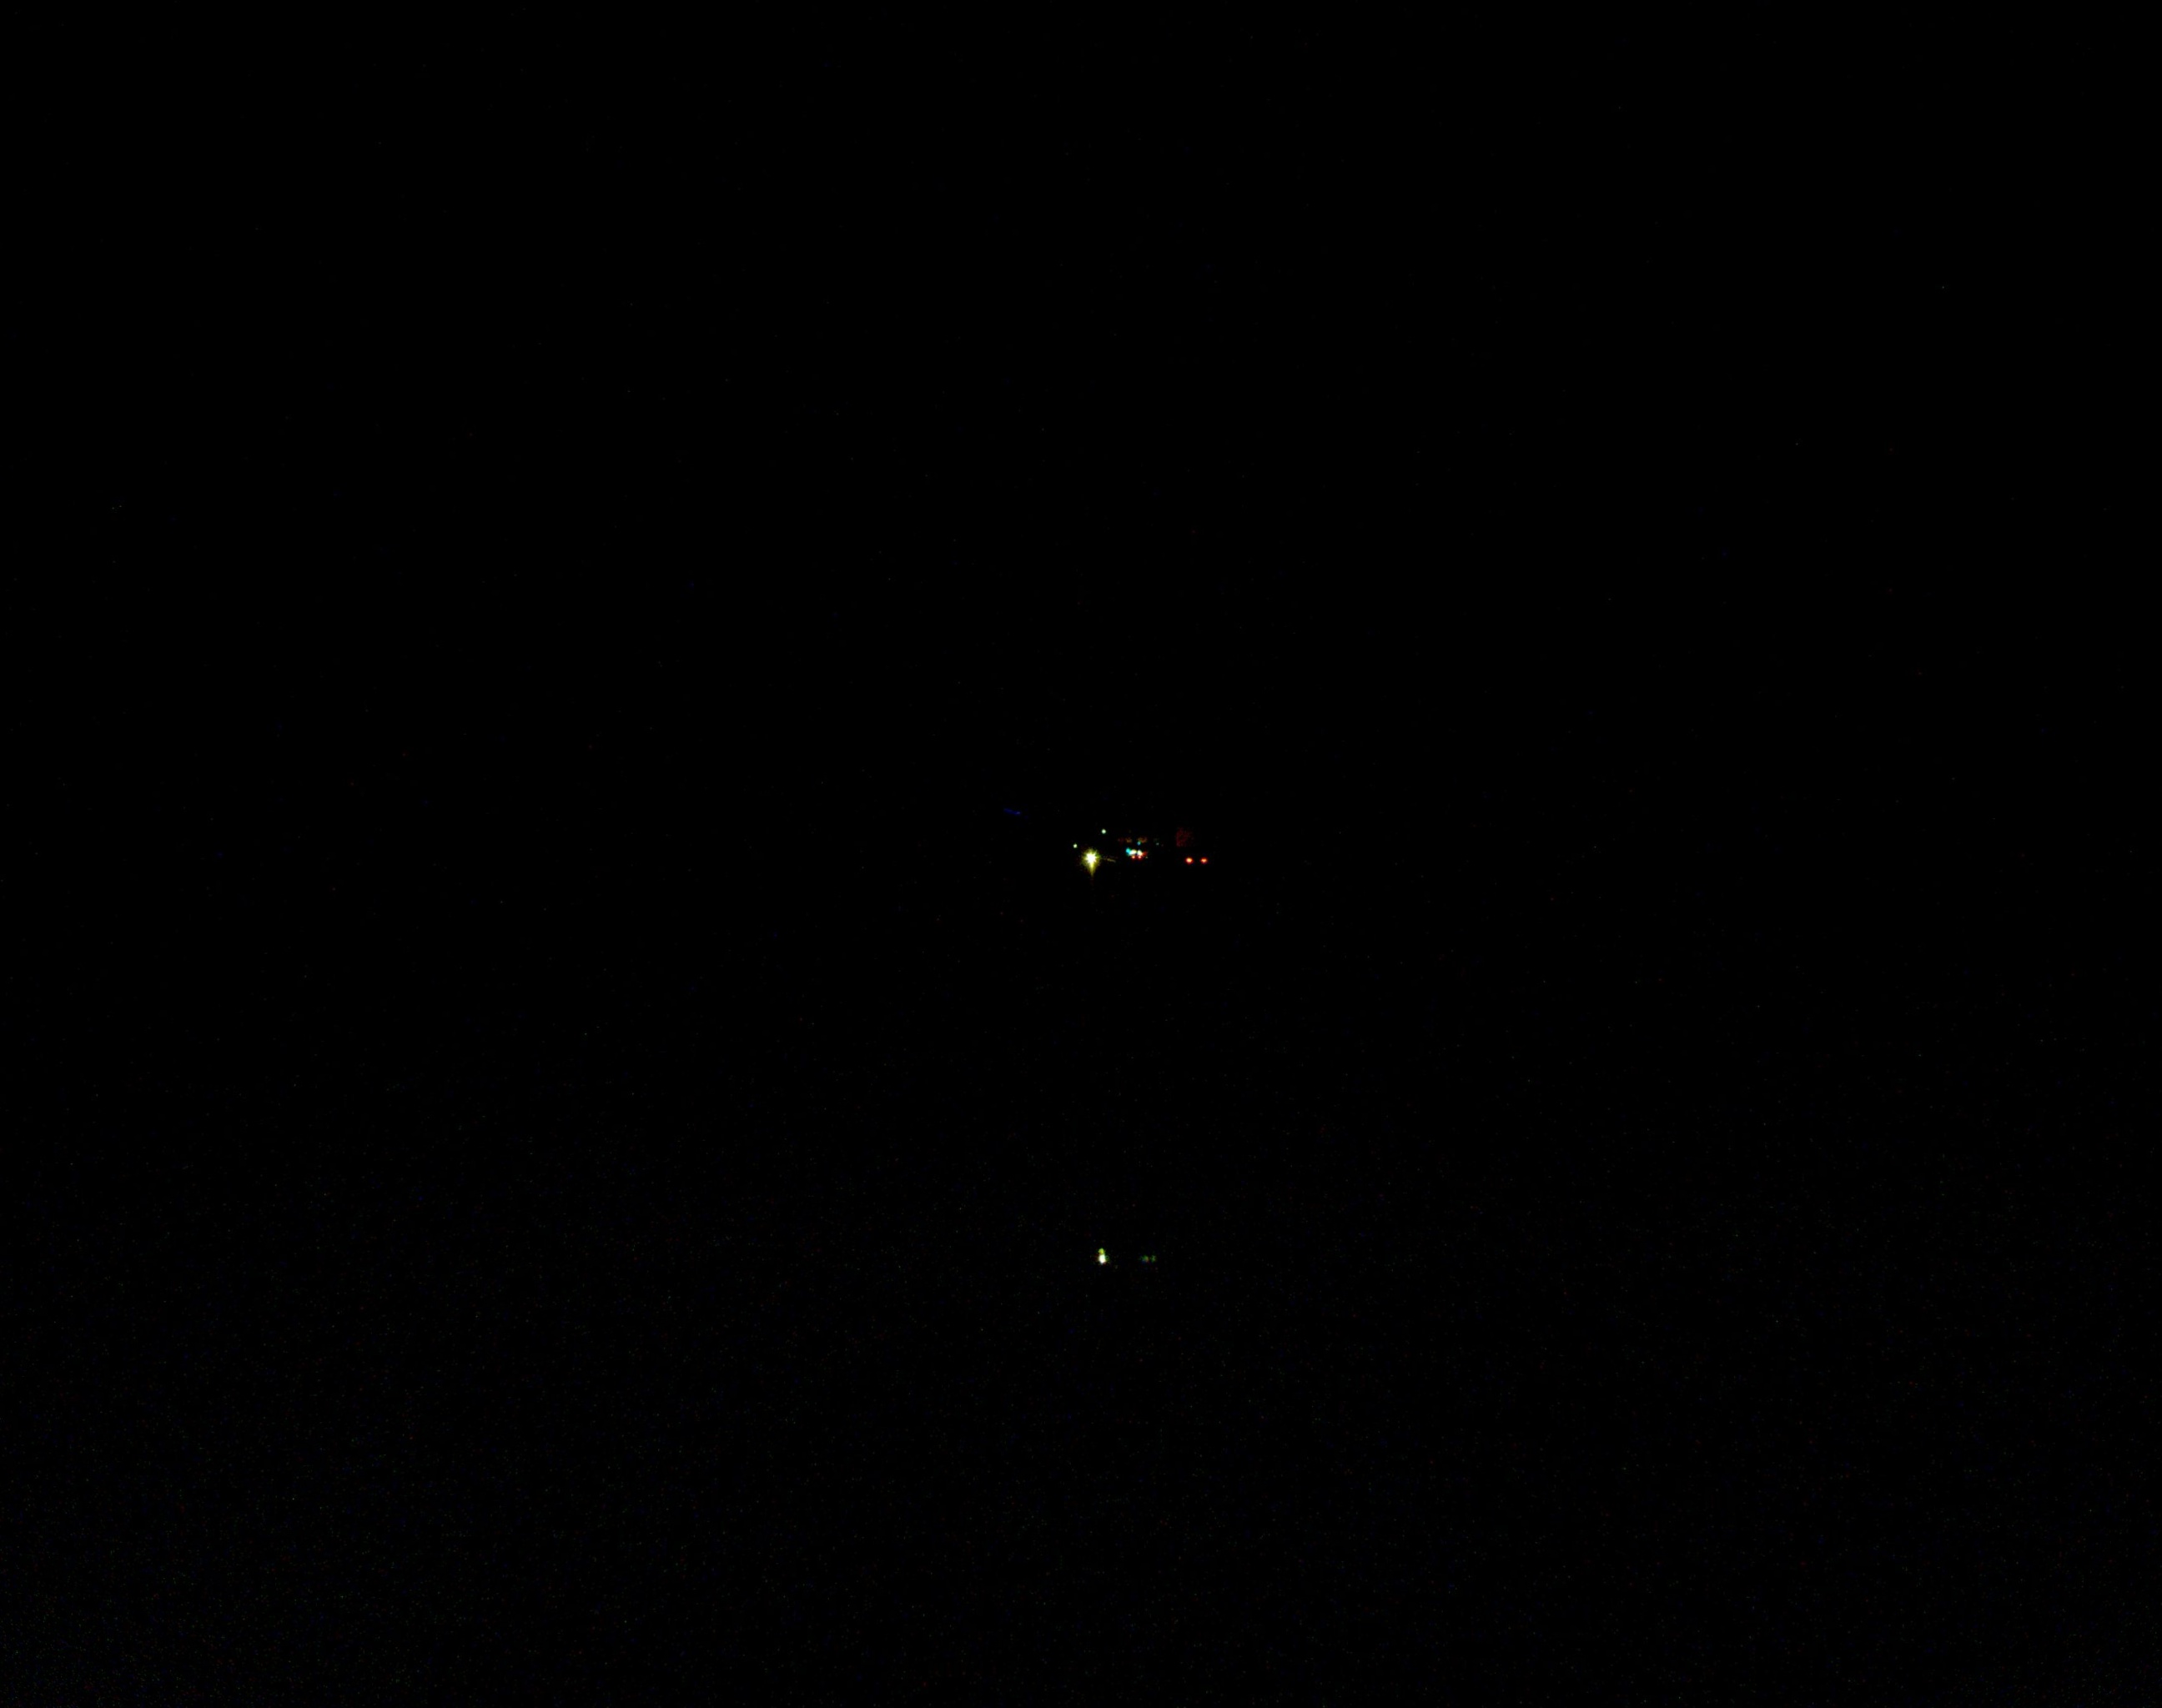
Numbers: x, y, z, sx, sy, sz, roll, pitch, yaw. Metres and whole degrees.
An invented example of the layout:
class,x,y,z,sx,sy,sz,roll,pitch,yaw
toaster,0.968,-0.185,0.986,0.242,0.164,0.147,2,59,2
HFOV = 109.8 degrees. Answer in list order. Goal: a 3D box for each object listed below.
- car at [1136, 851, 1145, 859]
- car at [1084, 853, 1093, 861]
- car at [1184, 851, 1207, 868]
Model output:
class,x,y,z,sx,sy,sz,roll,pitch,yaw
car,12.857,0.266,164.984,1.687,1.578,4.166,-2,0,1
car,1.502,0.602,152.353,1.570,1.336,4.166,-2,0,1
car,10.797,0.490,71.732,1.621,1.498,3.868,-2,1,1
